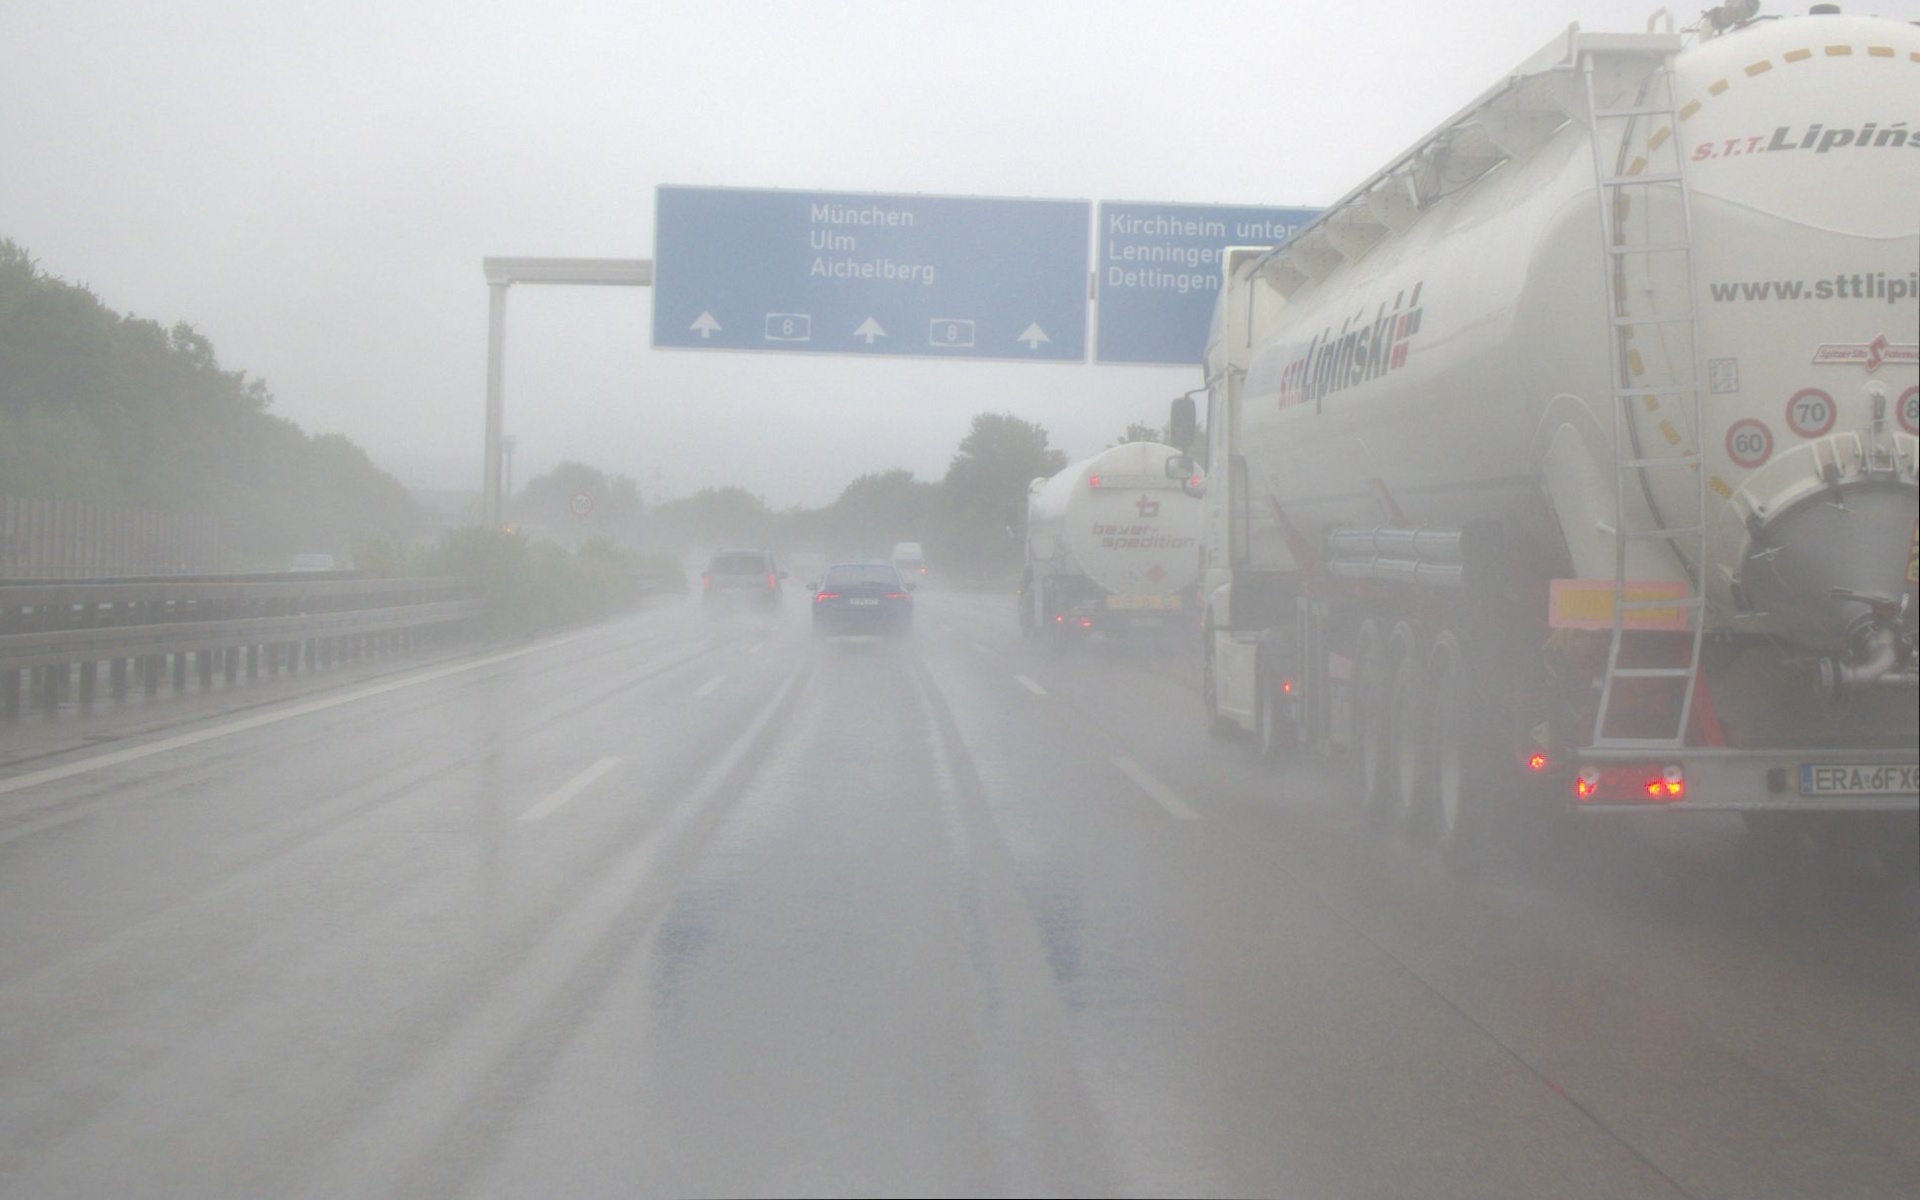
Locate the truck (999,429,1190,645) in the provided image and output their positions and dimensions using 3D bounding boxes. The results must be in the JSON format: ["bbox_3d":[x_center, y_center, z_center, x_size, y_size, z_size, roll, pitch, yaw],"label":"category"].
[{"bbox_3d":[2.342,-1.128,62.184,2.943,3.671,6.362,1,1,-2],"label":"truck"}]

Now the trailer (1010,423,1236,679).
[{"bbox_3d":[2.524,-0.796,56.181,3.004,3.834,8.624,1,1,-2],"label":"trailer"}]

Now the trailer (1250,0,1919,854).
[{"bbox_3d":[3.683,-0.949,19.247,3.188,3.657,11.667,1,1,1],"label":"trailer"}]

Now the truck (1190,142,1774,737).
[{"bbox_3d":[3.613,-1.103,25.817,3.104,3.793,7.213,1,1,-1],"label":"truck"}]

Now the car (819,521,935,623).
[{"bbox_3d":[-1.449,-0.528,61.521,1.978,1.750,4.481,0,1,0],"label":"car"}]

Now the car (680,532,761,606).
[{"bbox_3d":[-5.853,-0.782,84.069,1.925,1.735,4.404,1,1,-4],"label":"car"}]
